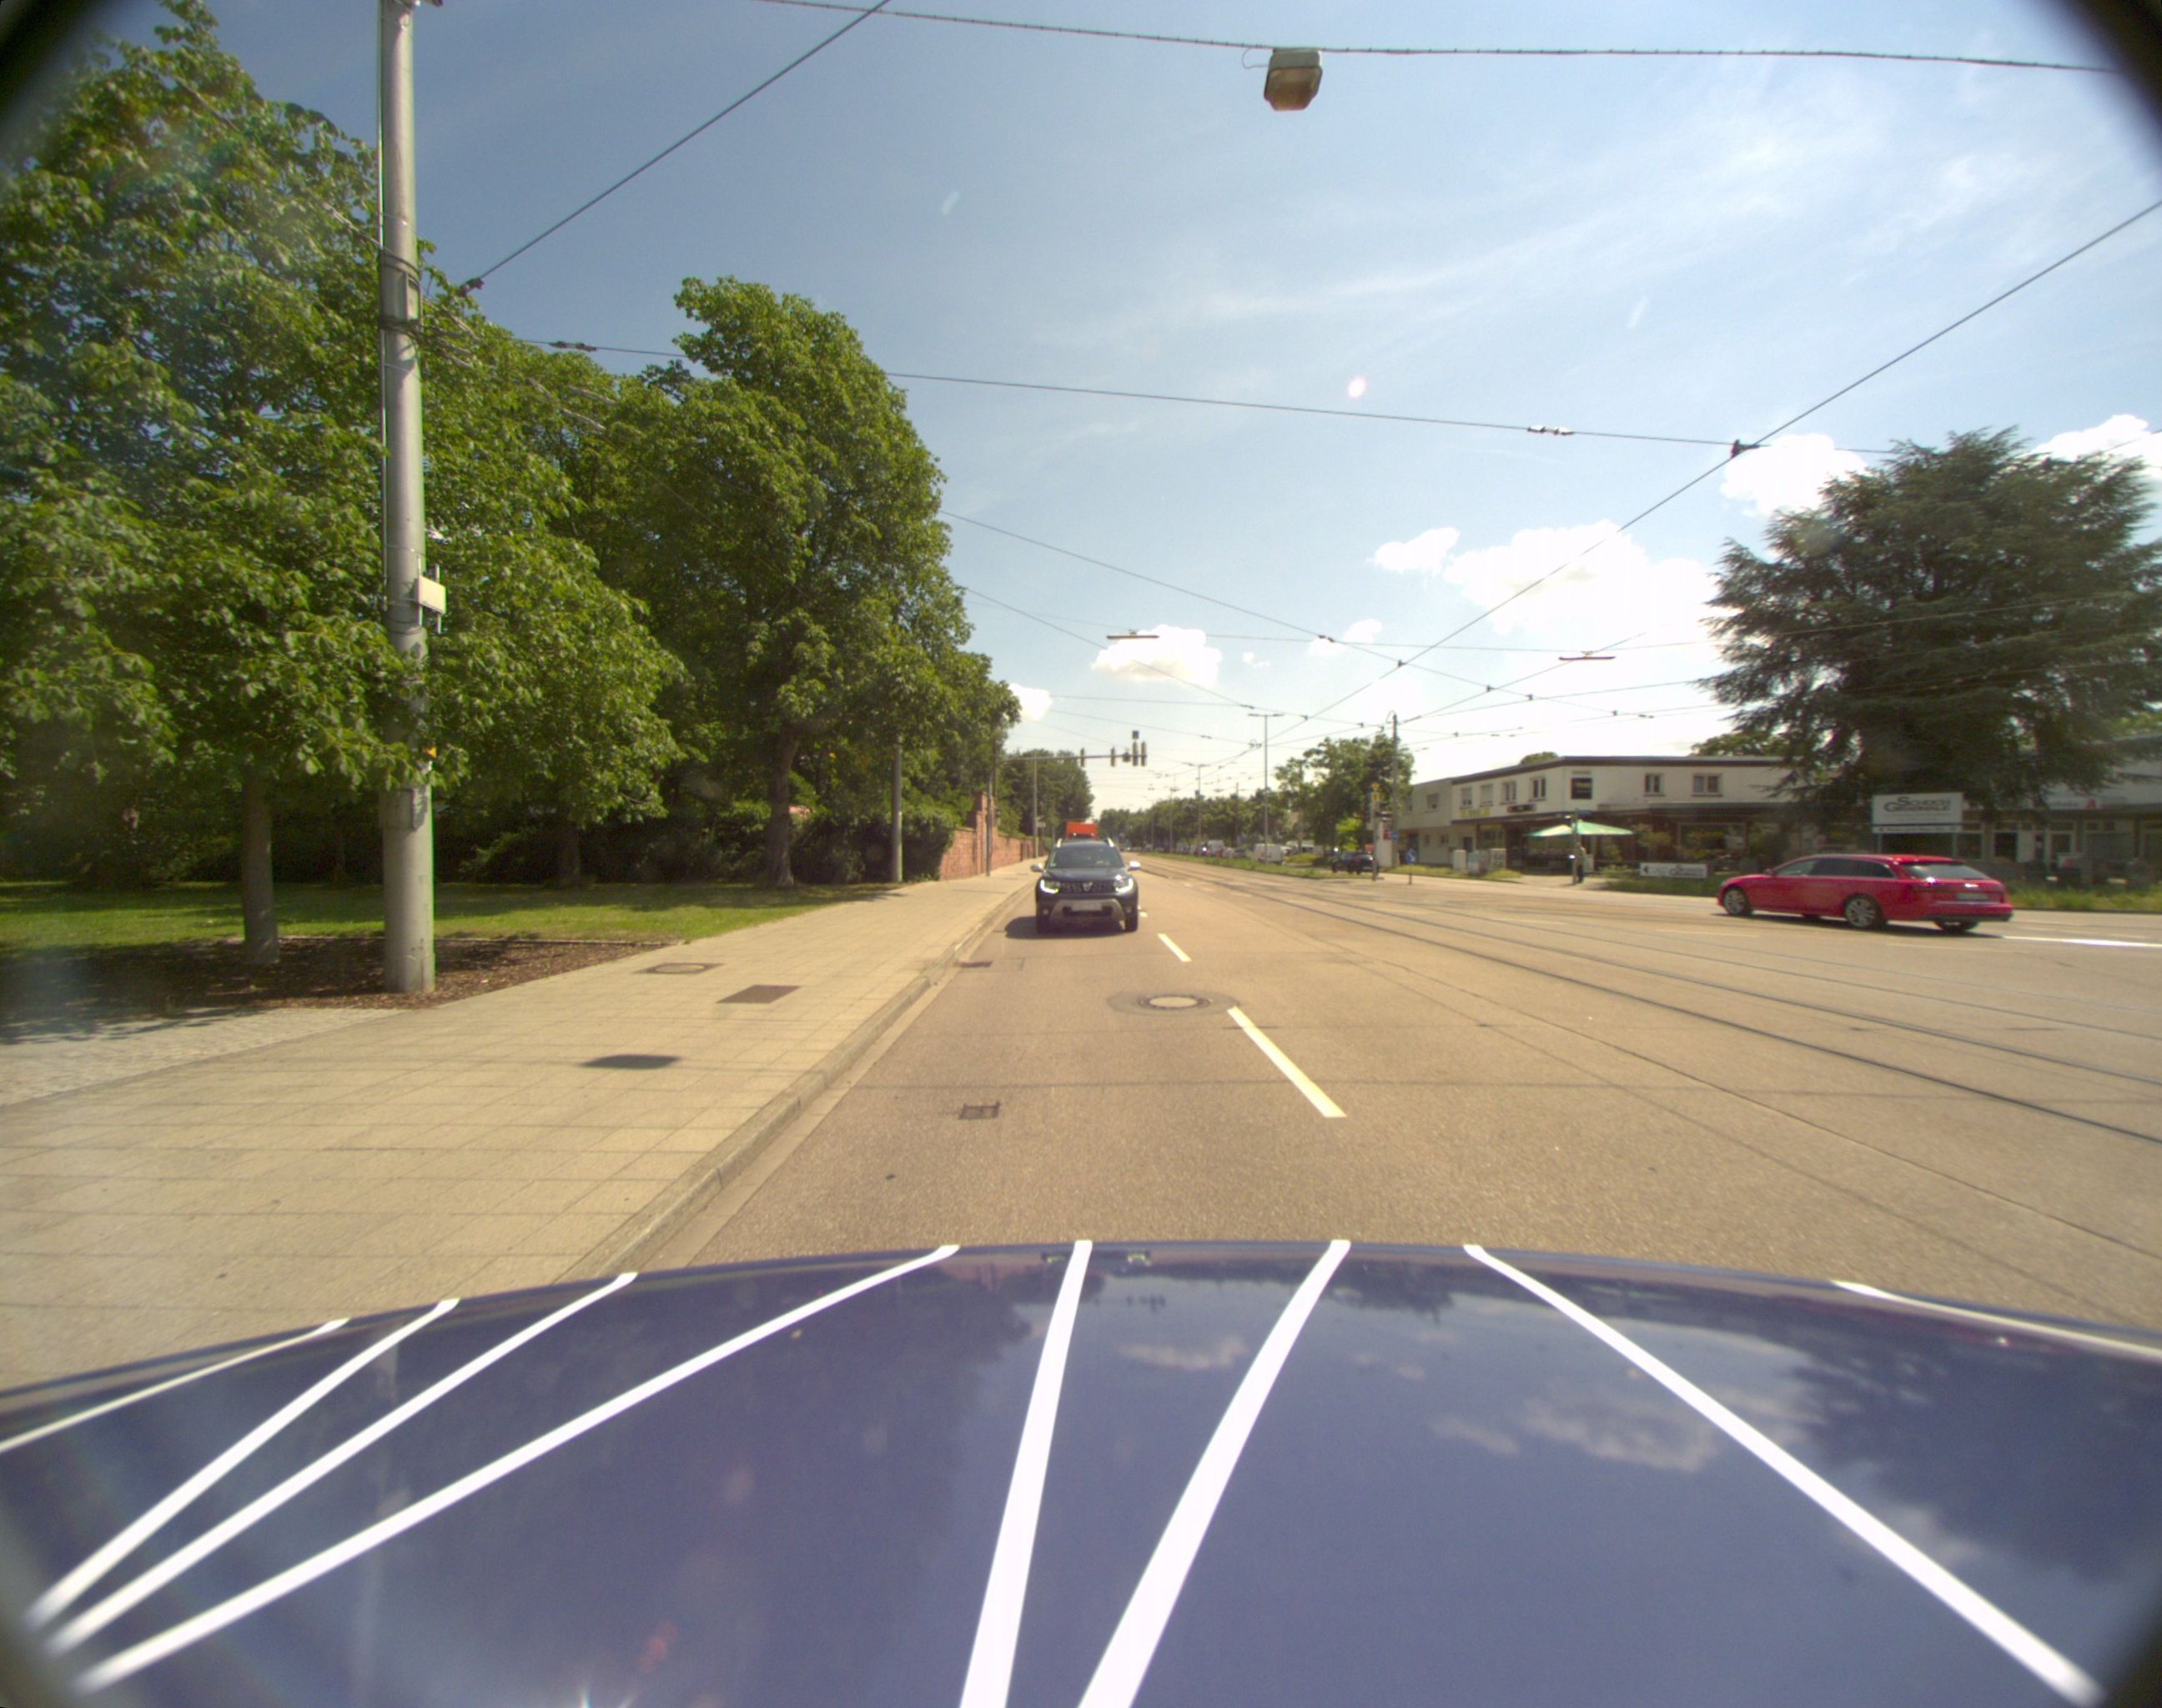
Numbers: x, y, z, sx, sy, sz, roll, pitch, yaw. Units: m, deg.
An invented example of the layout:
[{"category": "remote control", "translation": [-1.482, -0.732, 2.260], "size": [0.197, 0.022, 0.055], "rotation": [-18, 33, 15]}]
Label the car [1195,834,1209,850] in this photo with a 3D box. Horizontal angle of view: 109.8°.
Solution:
[{"category": "car", "translation": [20.488, -2.028, 129.023], "size": [1.744, 2.574, 3.999], "rotation": [0, 1, -1]}]

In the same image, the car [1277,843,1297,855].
[{"category": "car", "translation": [30.628, -0.757, 113.121], "size": [1.744, 1.684, 3.999], "rotation": [0, 1, -1]}]

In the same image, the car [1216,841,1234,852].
[{"category": "car", "translation": [20.444, -1.077, 107.679], "size": [1.744, 1.587, 3.999], "rotation": [0, 1, -1]}]

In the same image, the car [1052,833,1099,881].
[{"category": "car", "translation": [-0.198, 0.090, 34.252], "size": [1.998, 2.002, 3.999], "rotation": [0, 1, 1]}]

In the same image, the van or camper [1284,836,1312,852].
[{"category": "van or camper", "translation": [44.598, -2.036, 156.402], "size": [5.157, 3.100, 2.247], "rotation": [0, 1, 0]}]

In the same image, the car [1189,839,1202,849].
[{"category": "car", "translation": [20.761, -1.852, 137.797], "size": [1.744, 1.684, 3.999], "rotation": [0, 1, -1]}]

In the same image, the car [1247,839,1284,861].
[{"category": "car", "translation": [15.825, -0.372, 65.294], "size": [1.863, 1.865, 4.553], "rotation": [0, 1, -3]}]

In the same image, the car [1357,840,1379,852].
[{"category": "car", "translation": [43.255, -1.219, 114.607], "size": [1.744, 1.684, 3.999], "rotation": [0, 1, -1]}]

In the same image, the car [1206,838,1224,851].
[{"category": "car", "translation": [20.118, -1.433, 114.247], "size": [1.966, 1.954, 3.999], "rotation": [0, 1, -1]}]

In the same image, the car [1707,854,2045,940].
[{"category": "car", "translation": [15.967, 0.761, 15.781], "size": [1.998, 1.441, 4.821], "rotation": [0, 1, 1]}]

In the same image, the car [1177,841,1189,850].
[{"category": "car", "translation": [20.263, -1.699, 150.792], "size": [1.744, 1.684, 3.999], "rotation": [0, 1, -1]}]

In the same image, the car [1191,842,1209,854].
[{"category": "car", "translation": [15.653, -0.783, 100.166], "size": [1.744, 1.587, 3.999], "rotation": [0, 1, -1]}]

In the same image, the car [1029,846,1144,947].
[{"category": "car", "translation": [0.066, 0.668, 14.710], "size": [1.846, 1.565, 4.485], "rotation": [-1, 1, -1]}]

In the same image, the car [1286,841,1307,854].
[{"category": "car", "translation": [29.673, -0.906, 104.559], "size": [1.744, 1.684, 3.999], "rotation": [0, 1, -1]}]

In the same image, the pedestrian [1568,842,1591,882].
[{"category": "pedestrian", "translation": [23.022, 0.355, 35.093], "size": [0.488, 1.765, 0.682], "rotation": [-5, 3, -19]}]

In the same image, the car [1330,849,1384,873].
[{"category": "car", "translation": [16.627, 0.377, 45.968], "size": [1.784, 1.346, 3.999], "rotation": [0, 1, 0]}]

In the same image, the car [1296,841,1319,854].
[{"category": "car", "translation": [29.715, -0.865, 99.763], "size": [1.744, 1.684, 3.999], "rotation": [0, 1, -1]}]

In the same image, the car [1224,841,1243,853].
[{"category": "car", "translation": [20.465, -0.951, 101.949], "size": [1.744, 1.587, 3.999], "rotation": [0, 1, -1]}]

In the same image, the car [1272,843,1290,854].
[{"category": "car", "translation": [31.129, -0.834, 118.319], "size": [1.744, 1.684, 3.999], "rotation": [0, 1, -1]}]
